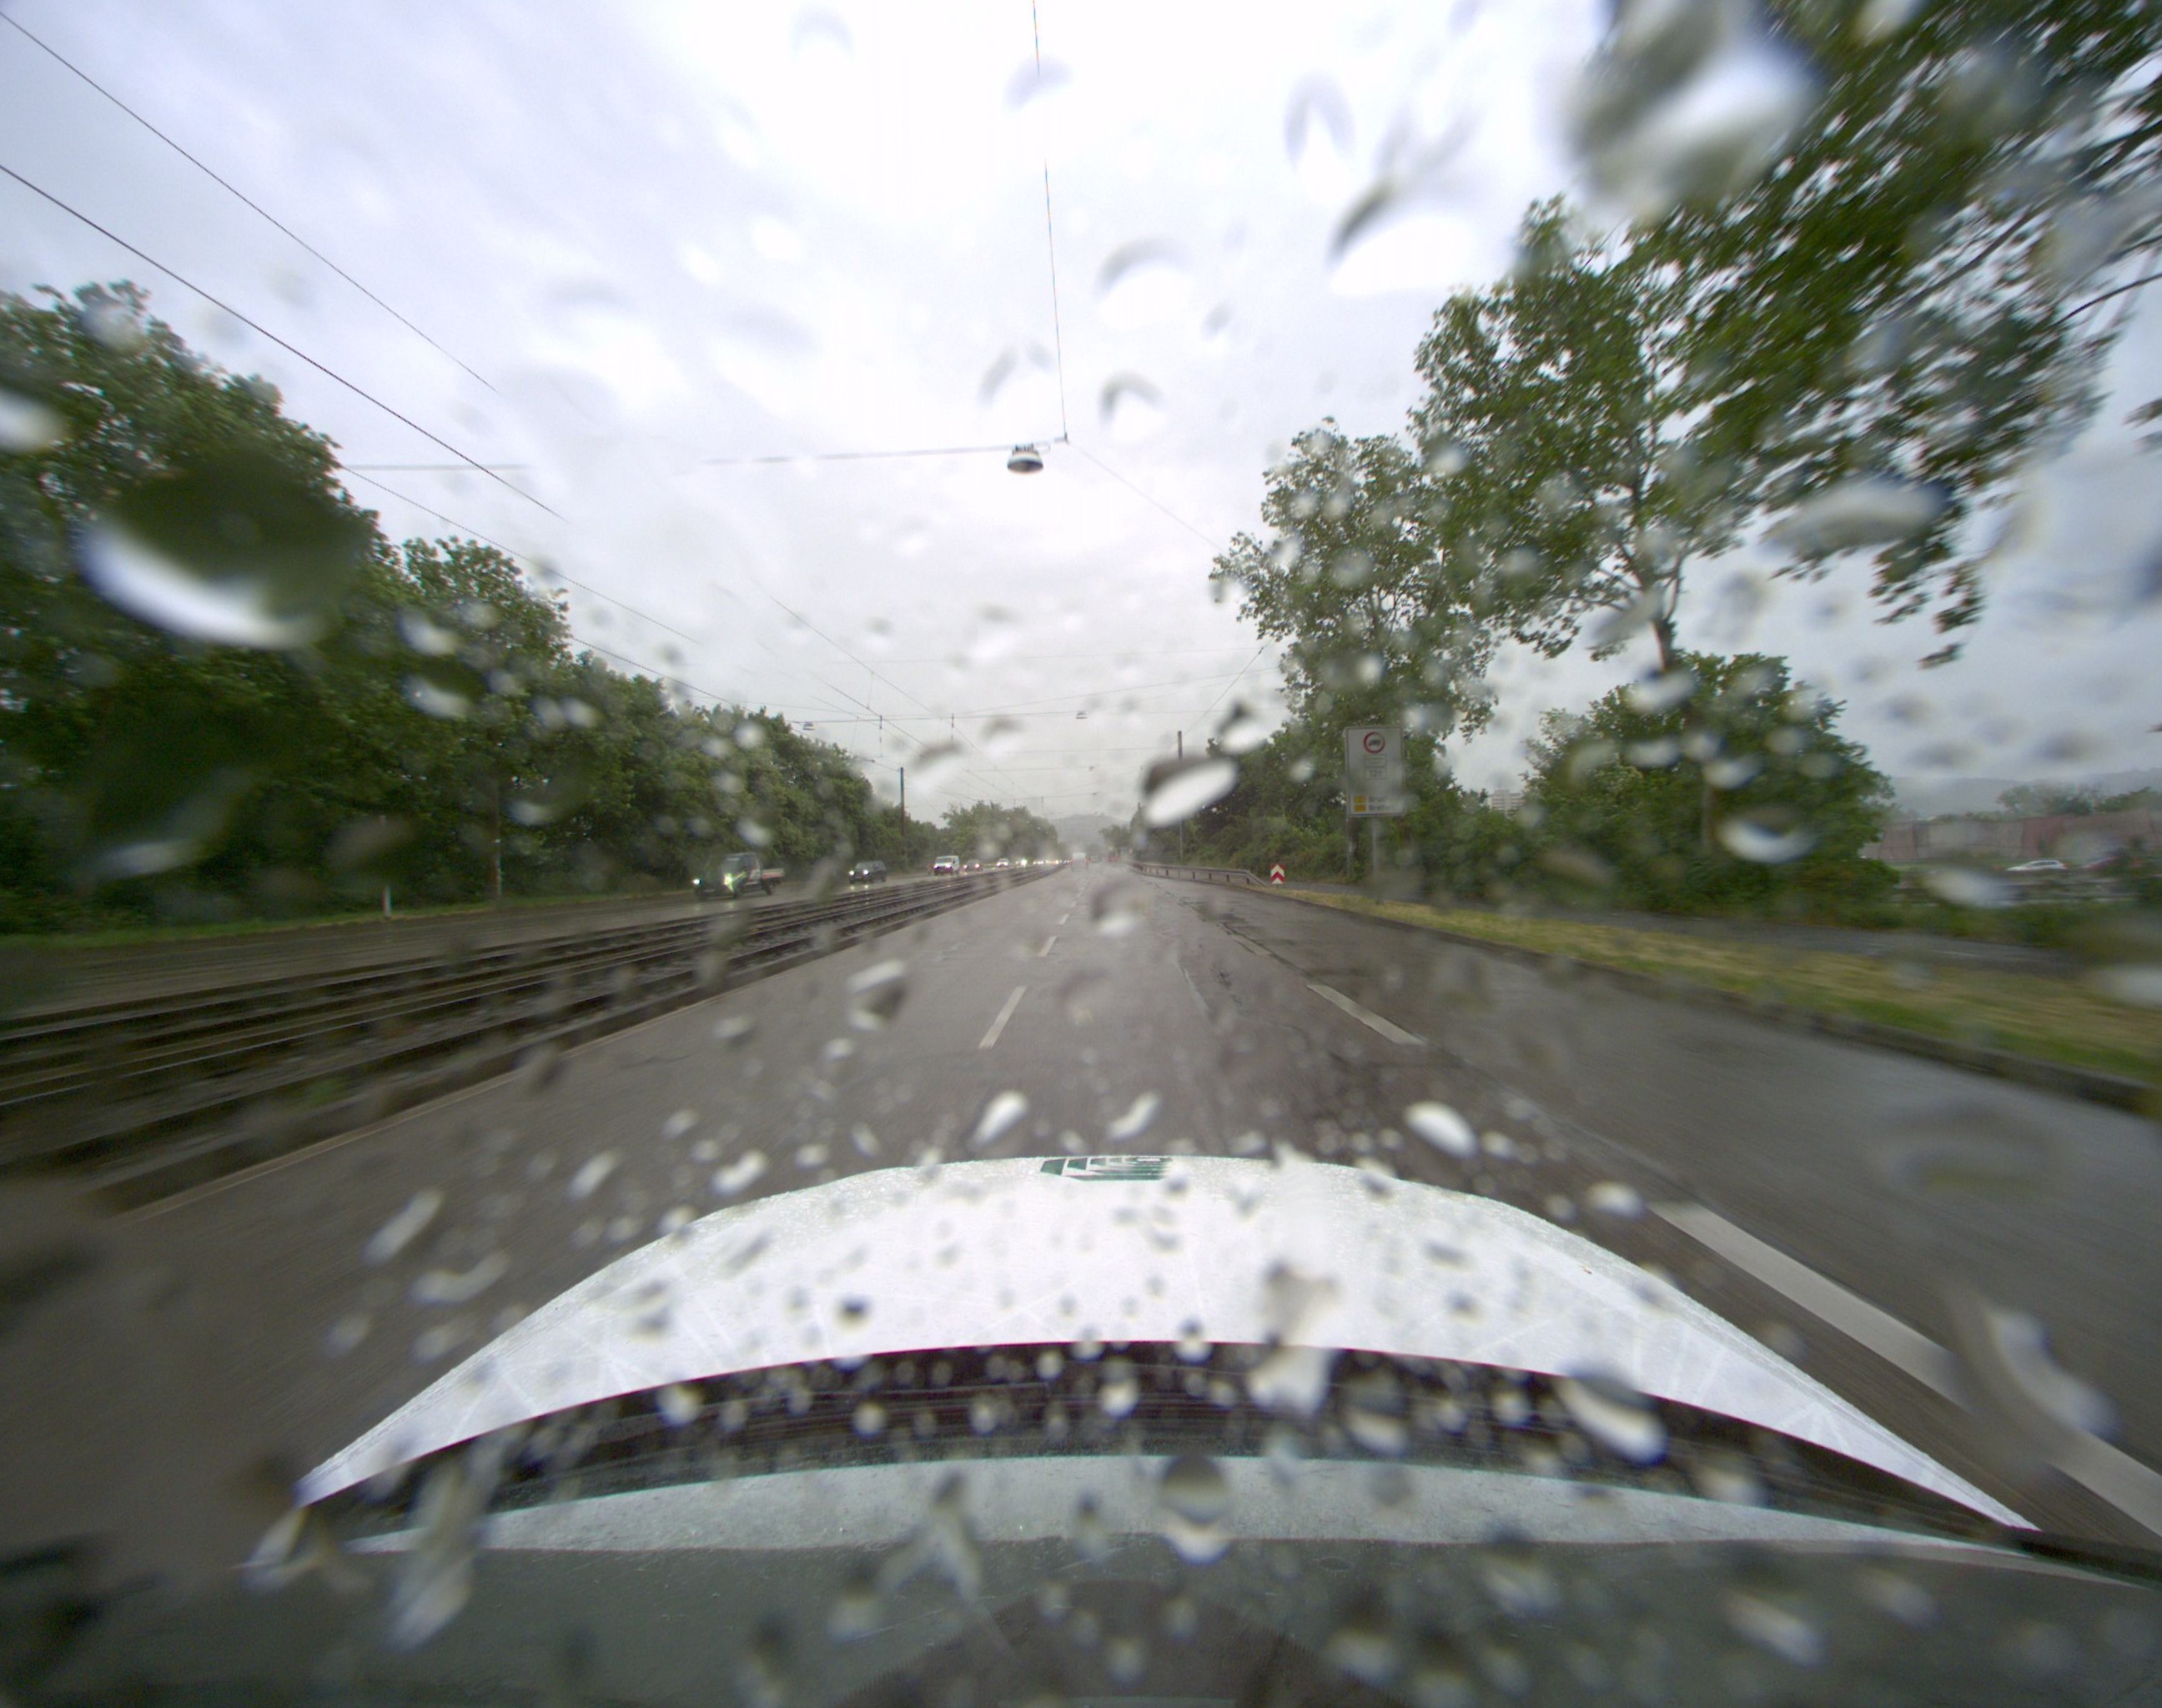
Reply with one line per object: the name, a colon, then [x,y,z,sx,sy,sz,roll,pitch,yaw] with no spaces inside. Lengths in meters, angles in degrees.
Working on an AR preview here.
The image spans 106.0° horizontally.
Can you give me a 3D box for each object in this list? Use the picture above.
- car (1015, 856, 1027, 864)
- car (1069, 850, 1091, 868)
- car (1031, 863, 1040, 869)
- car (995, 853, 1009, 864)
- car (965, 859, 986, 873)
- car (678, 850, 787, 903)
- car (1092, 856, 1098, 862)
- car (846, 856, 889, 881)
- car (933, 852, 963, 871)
car: [-11.603,1.175,158.197,1.791,1.453,4.197,0,1,2]
car: [-0.101,0.464,81.223,1.981,1.683,3.743,0,1,3]
car: [-11.213,2.936,201.088,1.737,1.508,3.701,0,1,1]
car: [-12.662,0.760,131.365,1.748,1.711,4.001,0,1,1]
car: [-13.090,1.467,101.591,1.681,1.519,4.617,0,1,5]
car: [-17.438,1.018,41.274,2.090,2.343,6.997,0,1,3]
car: [3.809,1.448,221.374,1.737,1.508,3.701,0,1,1]
car: [-16.014,1.044,61.235,1.833,1.716,4.168,0,1,4]
car: [-13.848,0.730,84.880,2.031,1.775,4.990,0,1,3]
